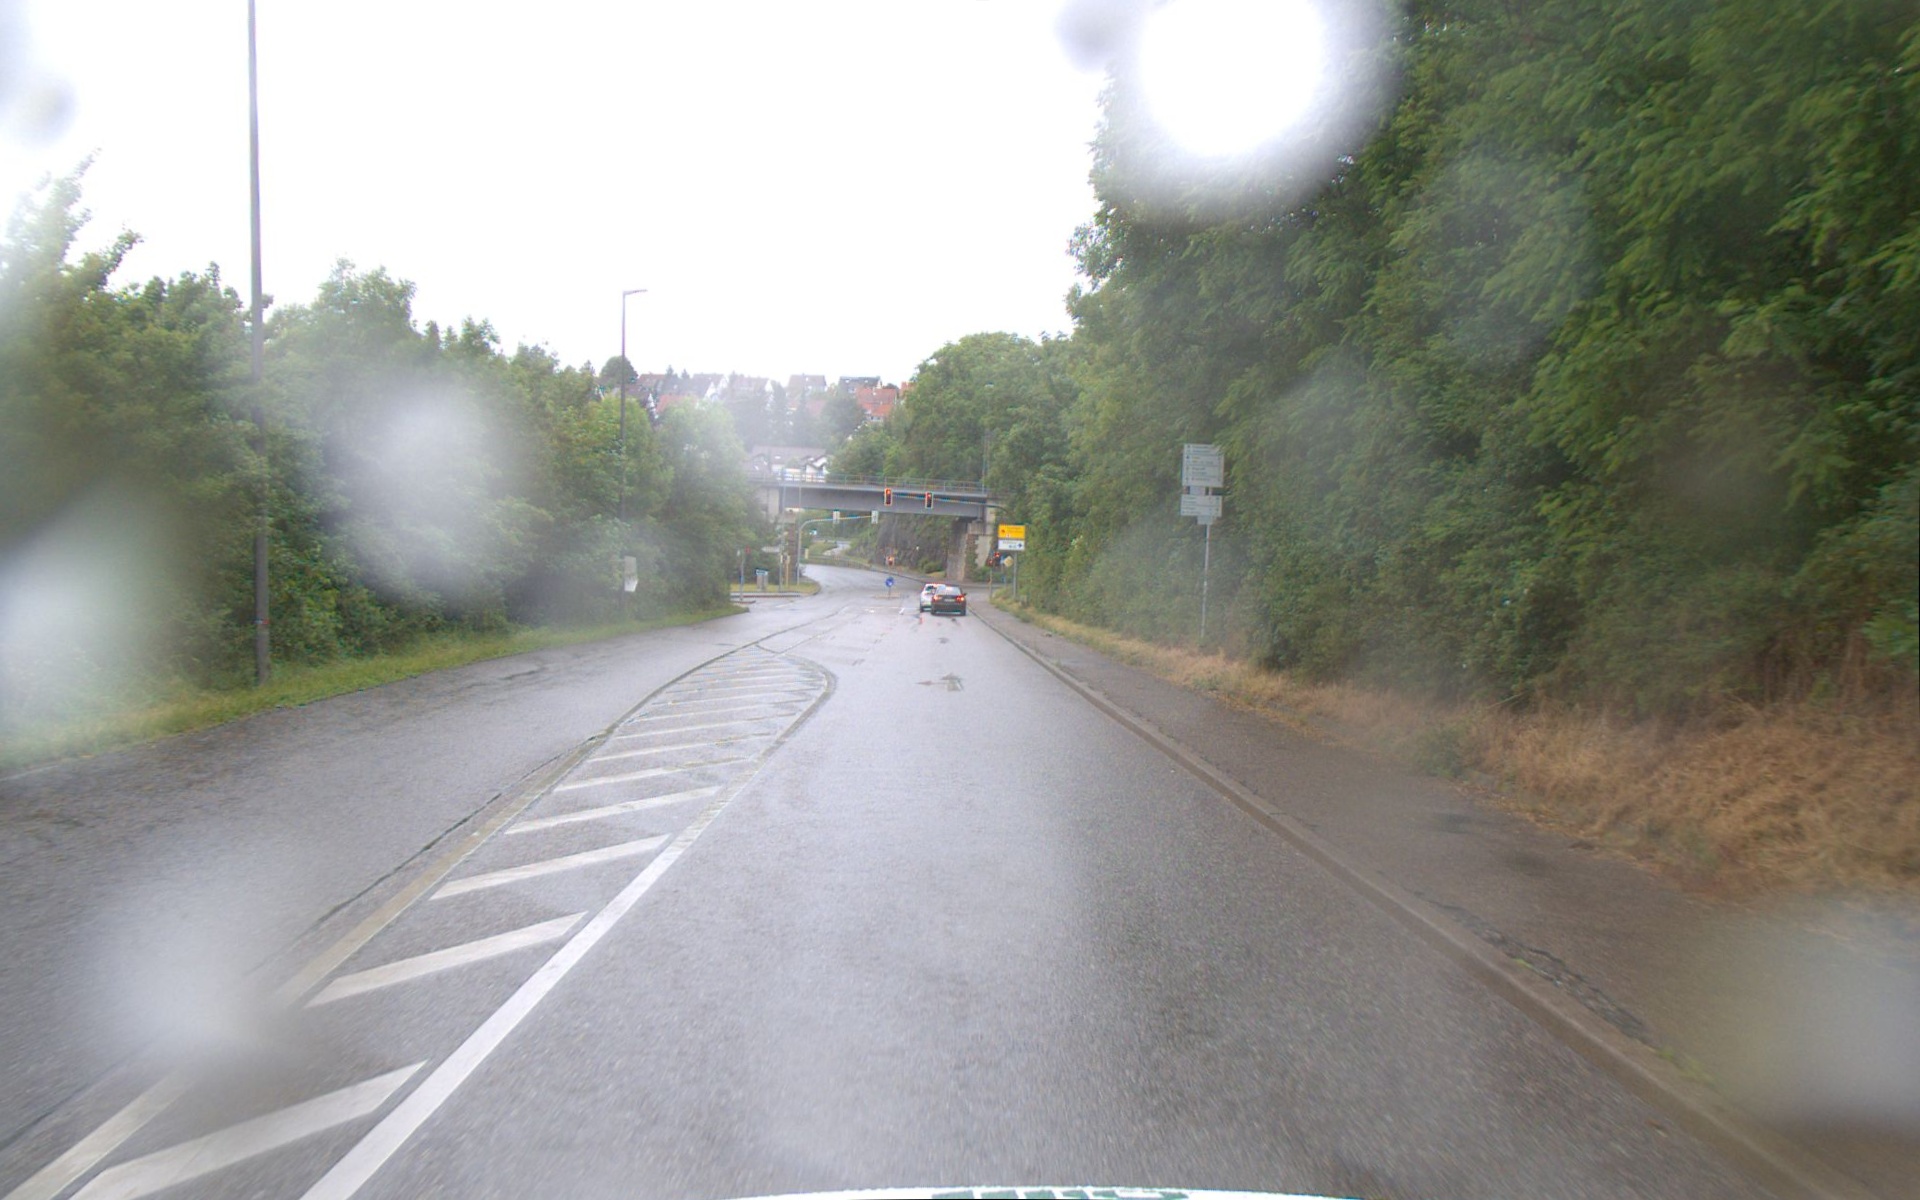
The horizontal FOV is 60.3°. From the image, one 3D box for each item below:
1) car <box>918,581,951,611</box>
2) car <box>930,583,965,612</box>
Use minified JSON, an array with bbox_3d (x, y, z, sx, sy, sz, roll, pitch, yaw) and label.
[{"bbox_3d":[-1.380,-0.240,90.045,1.732,1.590,4.000,0,0,0],"label":"car"},{"bbox_3d":[-0.612,-0.117,83.390,1.732,1.404,4.000,0,0,0],"label":"car"}]
